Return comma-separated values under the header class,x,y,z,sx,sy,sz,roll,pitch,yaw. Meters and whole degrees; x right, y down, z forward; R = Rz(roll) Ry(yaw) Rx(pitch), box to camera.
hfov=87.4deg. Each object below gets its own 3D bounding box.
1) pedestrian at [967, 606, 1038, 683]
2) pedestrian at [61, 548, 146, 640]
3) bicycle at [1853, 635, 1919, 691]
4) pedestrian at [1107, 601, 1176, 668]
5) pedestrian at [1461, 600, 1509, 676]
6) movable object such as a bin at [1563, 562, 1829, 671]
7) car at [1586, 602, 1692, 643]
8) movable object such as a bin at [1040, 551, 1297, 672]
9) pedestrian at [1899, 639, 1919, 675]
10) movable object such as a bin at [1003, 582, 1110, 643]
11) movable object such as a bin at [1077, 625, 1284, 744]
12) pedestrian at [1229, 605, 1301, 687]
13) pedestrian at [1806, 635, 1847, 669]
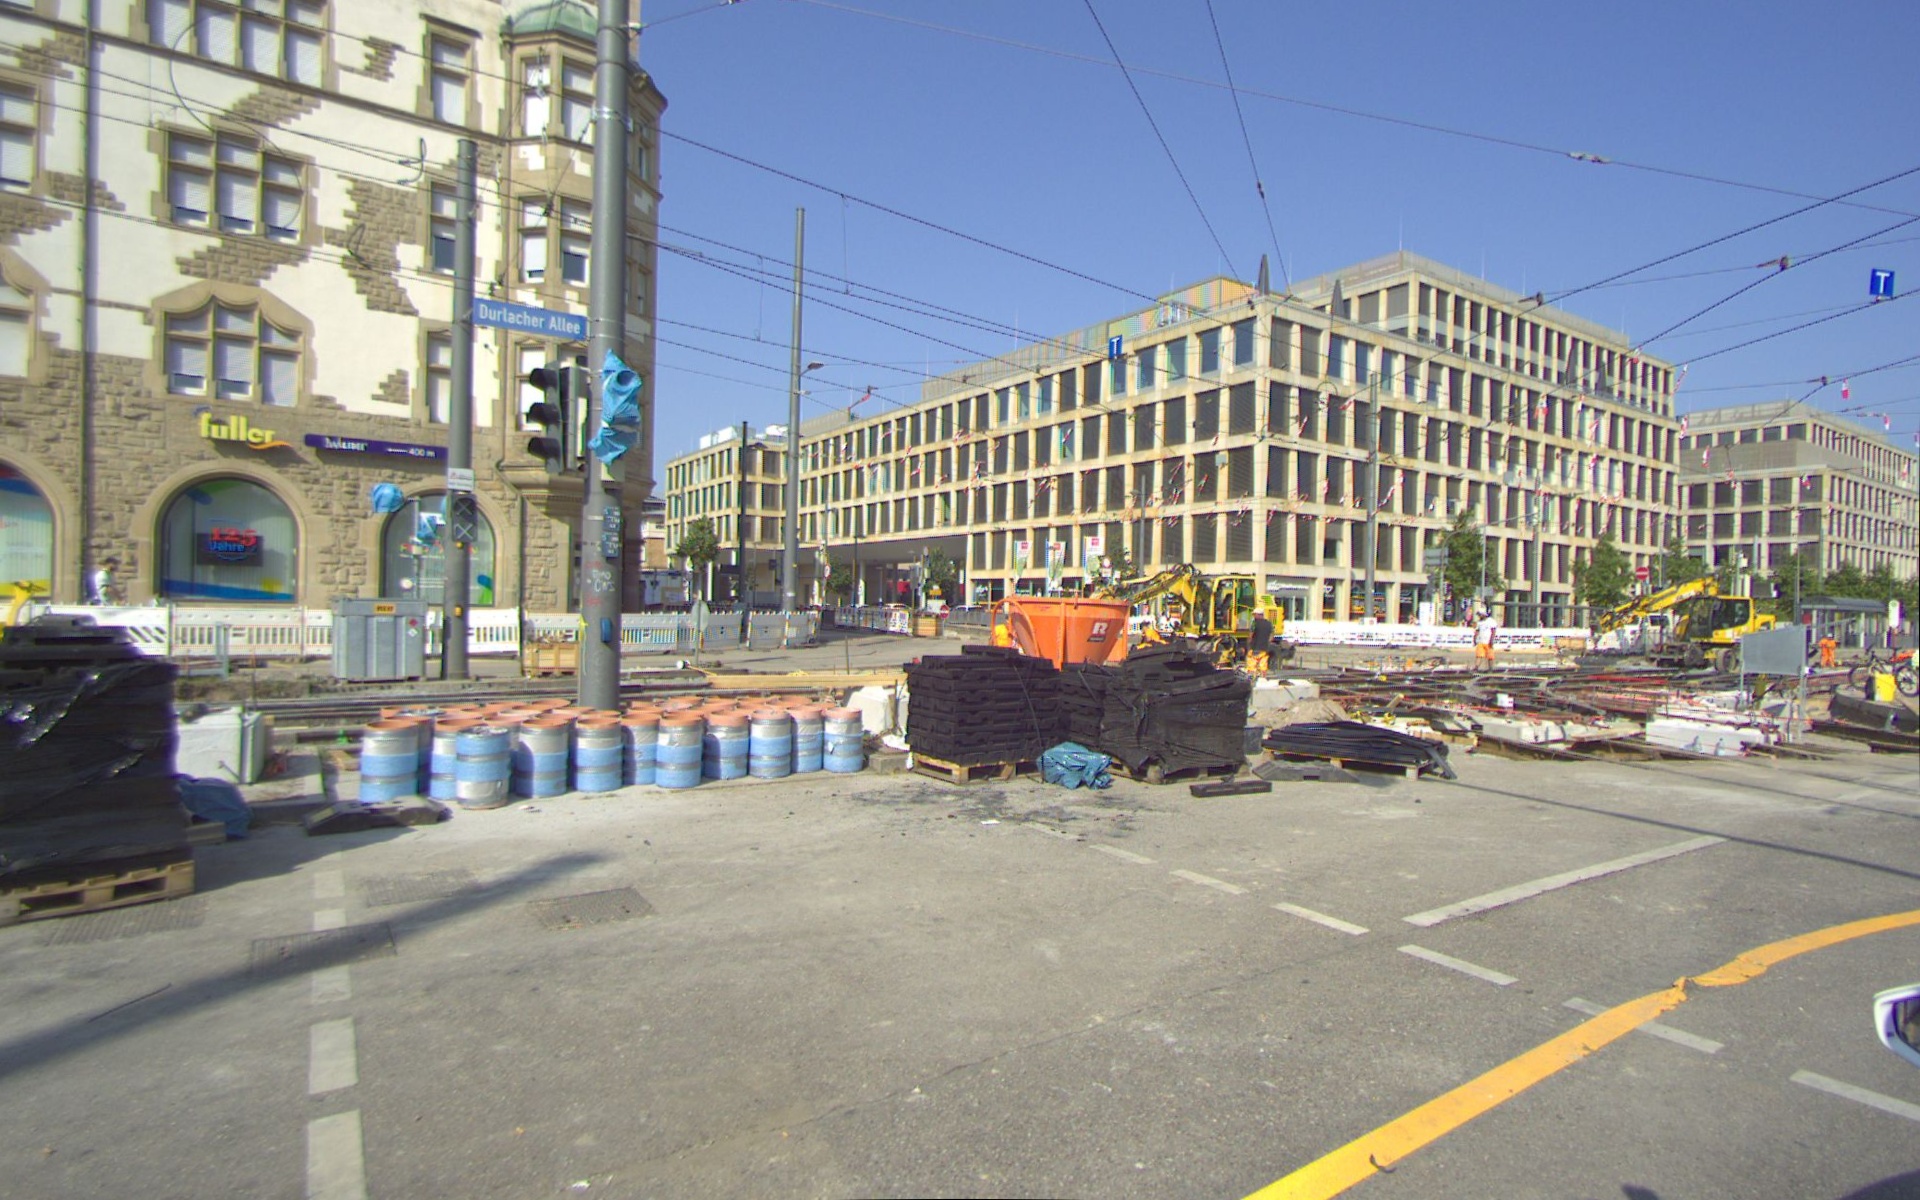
class,x,y,z,sx,sy,sz,roll,pitch,yaw
pedestrian,0.846,0.877,20.087,0.908,1.461,1.135,2,-1,-33
pedestrian,-17.050,-0.111,20.032,1.134,1.764,0.909,2,-1,-34
bicycle,20.855,1.389,22.379,0.605,1.151,1.663,1,-1,9
pedestrian,4.098,0.779,22.697,1.009,1.461,1.135,2,-1,-33
pedestrian,13.576,0.961,26.020,1.001,1.890,1.145,1,-1,25
movable object such as a bin,29.598,0.695,40.561,8.879,4.066,3.509,1,-1,-10
car,36.148,1.195,53.498,5.033,2.057,1.811,1,0,-15
movable object such as a bin,6.679,0.441,31.468,8.255,3.374,2.830,2,-1,-33
pedestrian,36.258,2.152,37.662,0.784,1.324,1.314,1,0,-9
movable object such as a bin,4.595,0.599,48.730,2.113,2.775,5.578,2,-1,-34
movable object such as a bin,2.447,0.897,11.057,2.261,1.185,0.747,2,0,-27
pedestrian,6.228,0.925,20.550,1.001,1.610,1.144,2,-1,-7
pedestrian,35.095,2.105,40.693,0.971,1.324,1.010,1,0,-30
